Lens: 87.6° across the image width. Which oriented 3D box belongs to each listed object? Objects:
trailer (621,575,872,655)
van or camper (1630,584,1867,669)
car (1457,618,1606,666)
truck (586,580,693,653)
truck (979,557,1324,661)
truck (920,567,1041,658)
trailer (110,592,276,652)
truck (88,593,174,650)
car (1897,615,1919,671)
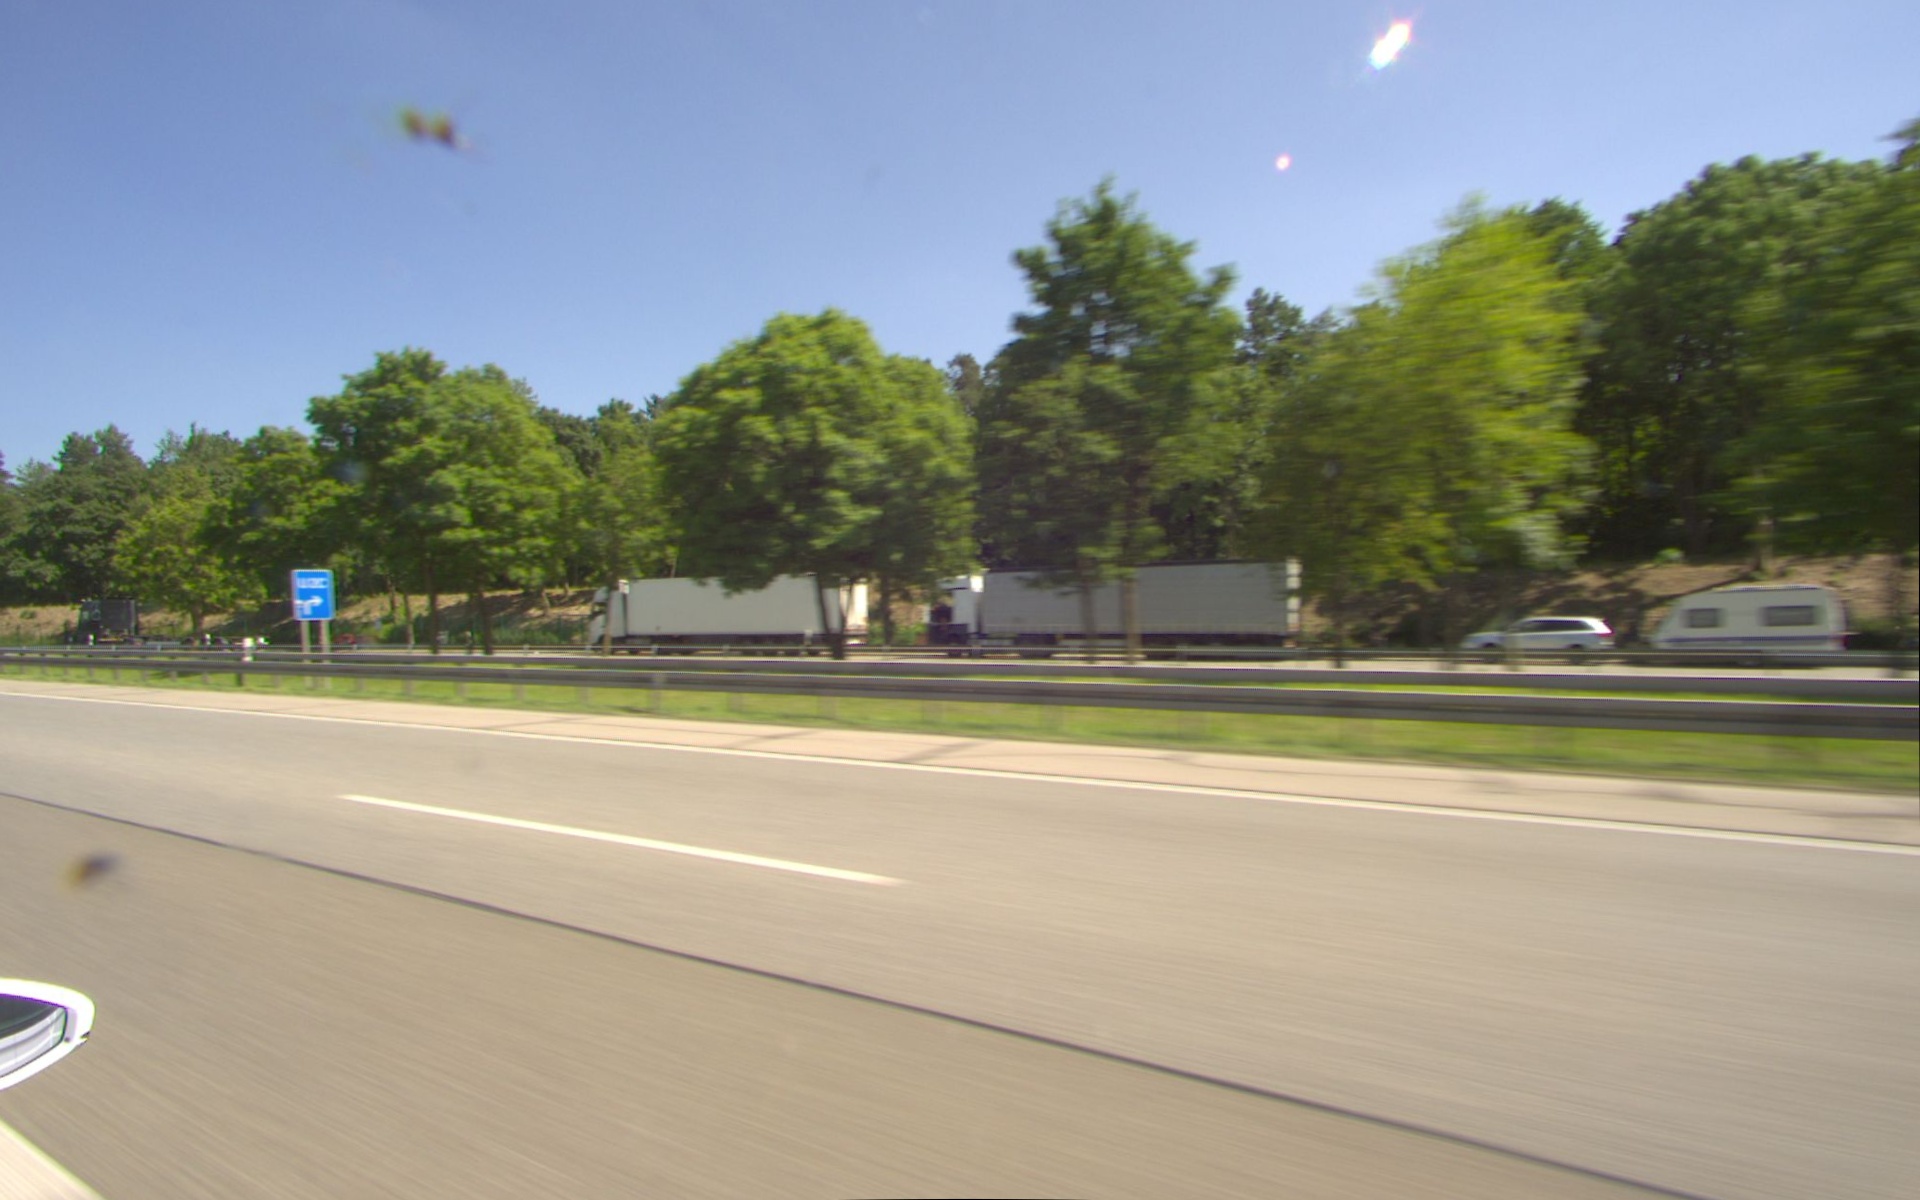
[{"bbox_3d":[-11.348,0.840,52.165,13.959,3.846,2.858,-1,-1,25],"label":"trailer"},{"bbox_3d":[25.245,0.857,32.430,5.792,2.563,2.199,-1,-1,33],"label":"van or camper"},{"bbox_3d":[20.218,1.461,35.565,4.490,1.618,1.653,-1,-1,32],"label":"car"},{"bbox_3d":[-17.610,0.940,55.120,5.062,3.846,2.809,-1,-1,25],"label":"truck"},{"bbox_3d":[7.835,0.486,42.782,14.236,3.982,2.994,-1,-1,28],"label":"truck"},{"bbox_3d":[0.962,0.598,46.443,4.758,3.982,2.968,-1,-1,28],"label":"truck"},{"bbox_3d":[-52.534,1.539,68.520,12.524,3.966,2.575,-1,-1,19],"label":"trailer"},{"bbox_3d":[-58.407,1.527,70.550,4.780,3.966,2.576,-1,-1,19],"label":"truck"},{"bbox_3d":[30.503,1.241,29.176,4.433,1.663,1.652,-1,-1,33],"label":"car"}]
